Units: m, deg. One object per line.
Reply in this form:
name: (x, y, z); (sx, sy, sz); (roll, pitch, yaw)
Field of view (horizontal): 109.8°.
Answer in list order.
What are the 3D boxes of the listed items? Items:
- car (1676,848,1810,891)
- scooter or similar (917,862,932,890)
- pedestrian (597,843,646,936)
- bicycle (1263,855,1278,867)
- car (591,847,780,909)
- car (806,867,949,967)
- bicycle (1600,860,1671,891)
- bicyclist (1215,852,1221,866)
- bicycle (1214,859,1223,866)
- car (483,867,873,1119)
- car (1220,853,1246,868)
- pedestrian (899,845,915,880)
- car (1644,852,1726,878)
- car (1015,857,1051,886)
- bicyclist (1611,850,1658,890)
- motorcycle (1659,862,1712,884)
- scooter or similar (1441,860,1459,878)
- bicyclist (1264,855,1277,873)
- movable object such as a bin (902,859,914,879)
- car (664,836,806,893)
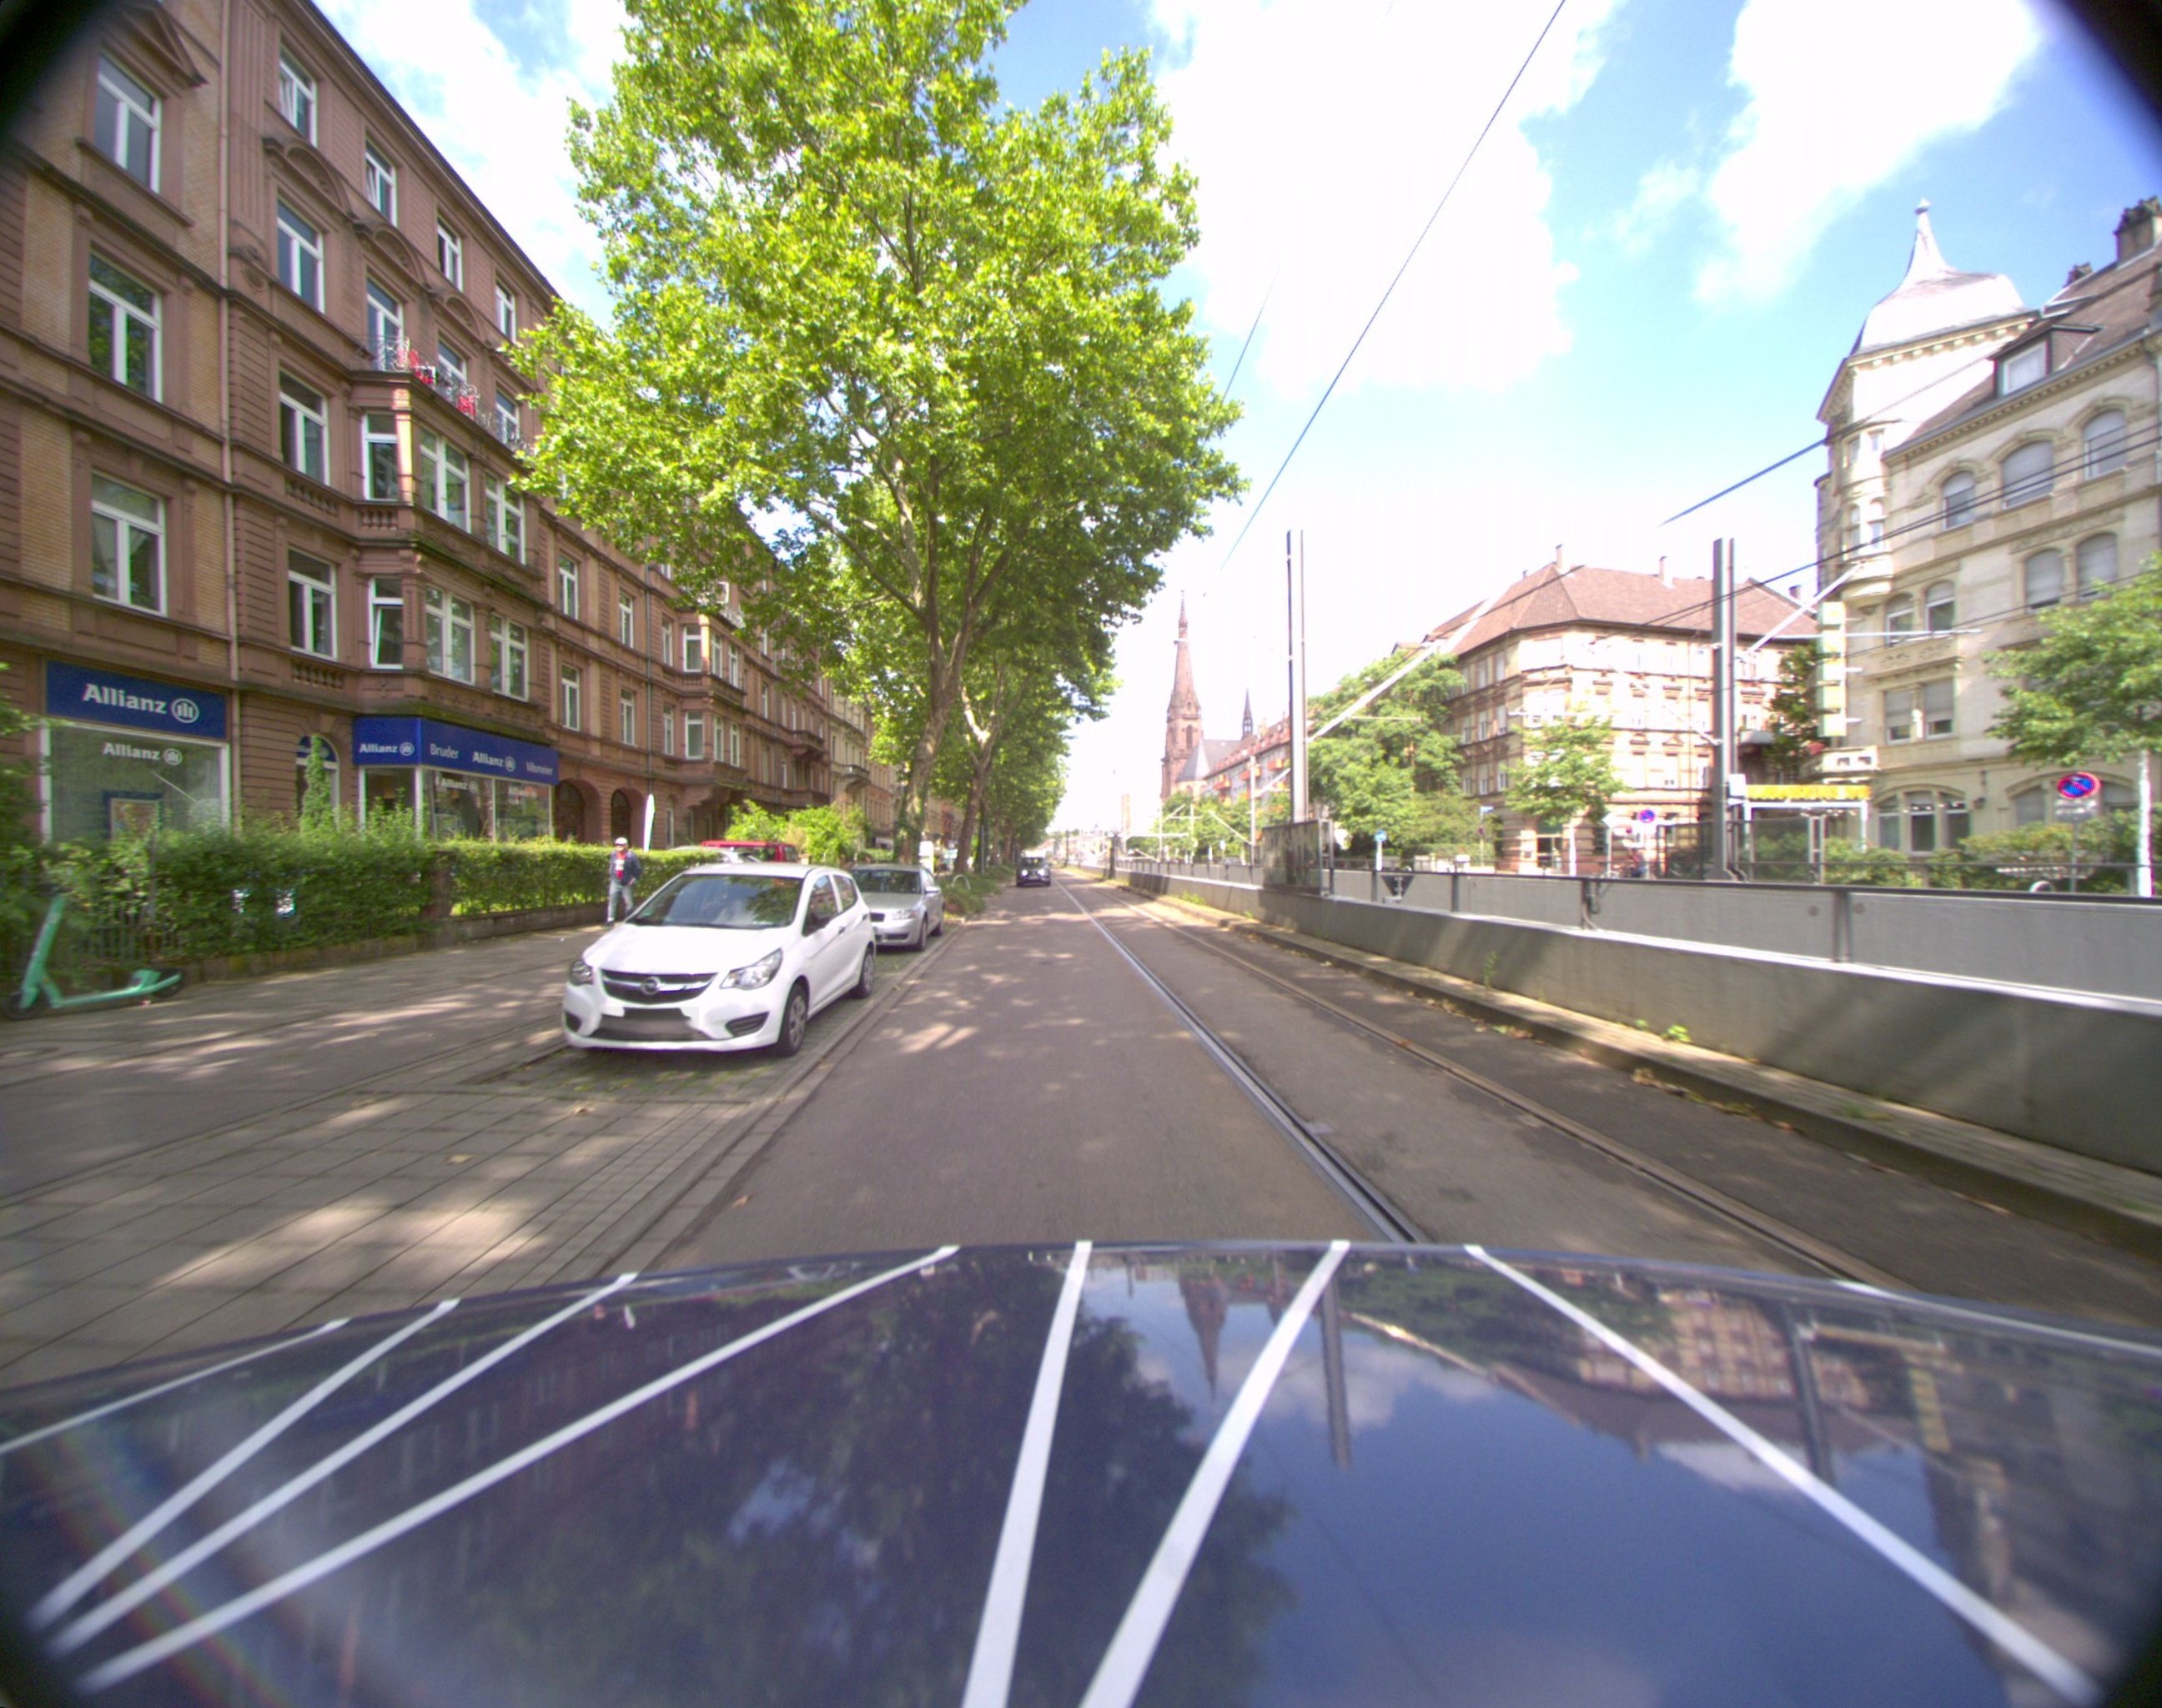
car: (26.099, 0.582, 30.006); (3.964, 1.597, 2.034); (-1, 0, -12)
scooter or similar: (-7.087, 0.991, 34.346); (0.468, 1.203, 1.323); (0, 0, -3)
pedestrian: (-9.005, 0.681, 14.904); (0.565, 1.776, 0.630); (0, 1, -3)
bicycle: (16.195, 0.607, 64.965); (0.728, 0.990, 1.898); (1, 0, -4)
car: (-11.952, 0.709, 23.305); (4.737, 1.772, 2.003); (1, 0, -11)
car: (-3.418, 0.985, 13.461); (1.682, 1.435, 3.857); (0, 0, -3)
bicycle: (18.861, 0.703, 25.911); (0.778, 0.973, 2.140); (1, 0, -2)
bicyclist: (15.007, 0.520, 83.074); (0.505, 1.535, 0.607); (0, 1, -4)
bicycle: (15.030, 0.907, 83.065); (0.497, 0.764, 1.816); (0, 0, -4)
car: (-3.073, 0.925, 6.746); (1.558, 1.477, 3.857); (2, 0, -3)
car: (17.068, 0.676, 85.491); (1.999, 1.628, 4.112); (0, 0, -3)
pedestrian: (-10.352, 0.504, 45.294); (0.766, 2.002, 1.119); (2, 0, -8)
car: (36.639, 0.653, 46.149); (4.003, 1.527, 1.923); (0, 1, -16)
car: (-2.528, 0.896, 40.696); (1.800, 1.454, 4.566); (0, 0, -2)
bicyclist: (18.853, 0.537, 25.893); (0.770, 1.330, 1.048); (1, 0, -3)
motorcycle: (28.123, 0.870, 35.395); (0.524, 0.988, 1.998); (0, 0, -15)
scooter or similar: (23.013, 0.907, 47.346); (0.377, 1.076, 1.287); (-3, 0, -3)
bicyclist: (16.185, 0.867, 64.894); (0.740, 1.470, 0.977); (1, 0, -4)
movable object such as a bin: (-10.479, 0.893, 46.114); (0.609, 1.202, 1.057); (2, 0, -9)
car: (-13.023, 0.402, 28.823); (4.409, 1.927, 1.983); (2, 0, -3)
